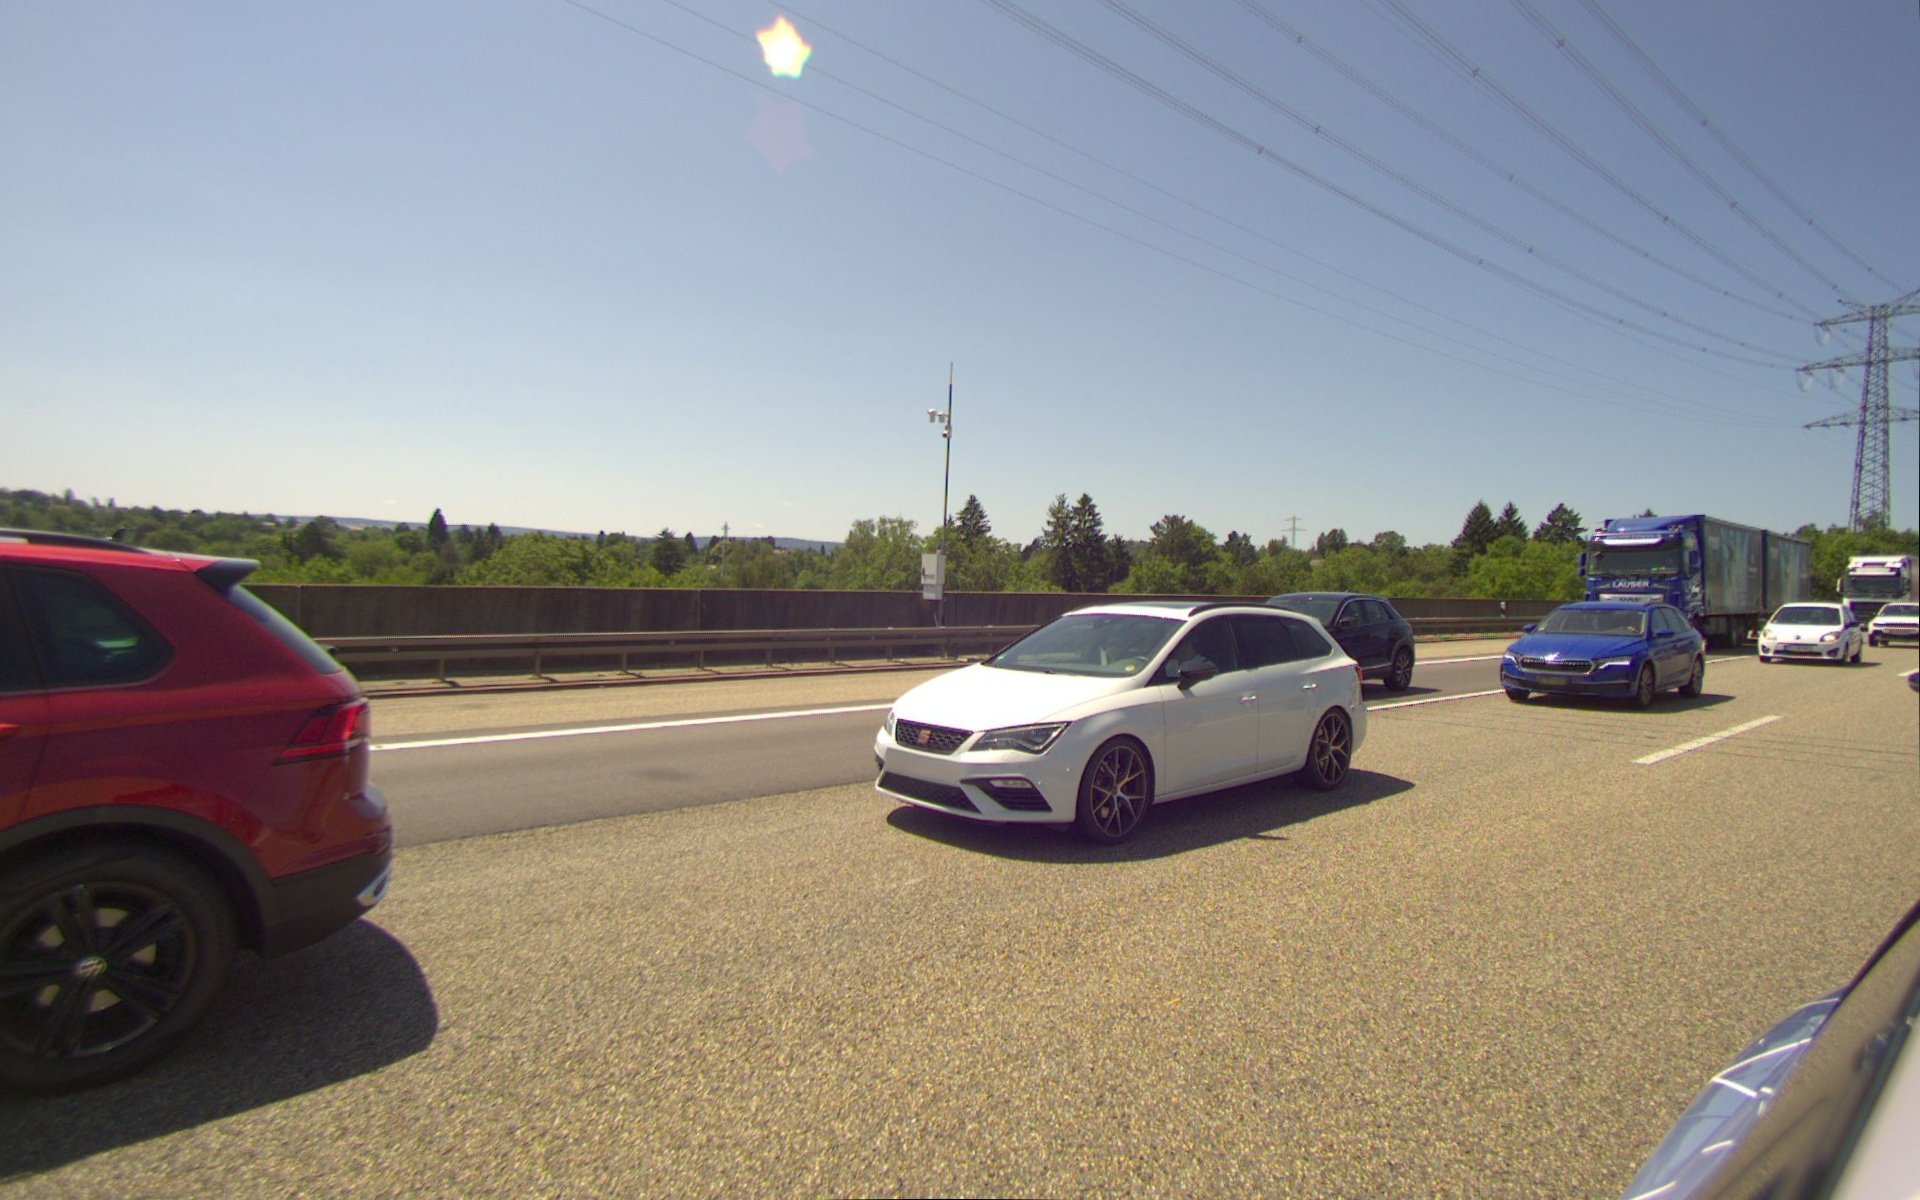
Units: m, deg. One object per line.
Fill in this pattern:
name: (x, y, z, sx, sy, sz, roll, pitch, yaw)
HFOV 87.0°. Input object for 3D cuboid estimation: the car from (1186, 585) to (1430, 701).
car: (5.375, 0.563, 15.422, 4.034, 1.546, 1.739, 0, 0, -41)

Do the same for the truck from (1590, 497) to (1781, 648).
truck: (23.068, -0.792, 31.851, 10.263, 4.118, 2.527, 0, 0, -41)

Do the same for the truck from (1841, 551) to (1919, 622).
truck: (51.940, -0.730, 56.259, 10.776, 3.604, 2.983, 0, 0, -41)

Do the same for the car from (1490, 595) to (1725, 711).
car: (9.605, 0.675, 14.891, 4.135, 1.463, 1.739, 0, 1, -40)

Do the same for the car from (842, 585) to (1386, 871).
car: (1.306, 0.664, 7.380, 4.003, 1.508, 1.841, 0, 0, -42)

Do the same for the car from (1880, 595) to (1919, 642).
car: (33.397, 0.628, 35.112, 4.023, 1.522, 1.761, 0, 1, -42)

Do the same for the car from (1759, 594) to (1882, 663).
car: (21.171, 0.641, 24.853, 4.023, 1.522, 1.761, 0, 1, -42)

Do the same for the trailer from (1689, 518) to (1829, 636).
trailer: (30.104, -0.797, 37.973, 8.330, 3.994, 2.571, 0, 0, -41)

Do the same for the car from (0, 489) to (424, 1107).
car: (-3.965, 0.525, 2.746, 4.151, 1.683, 1.778, 0, 1, -41)
